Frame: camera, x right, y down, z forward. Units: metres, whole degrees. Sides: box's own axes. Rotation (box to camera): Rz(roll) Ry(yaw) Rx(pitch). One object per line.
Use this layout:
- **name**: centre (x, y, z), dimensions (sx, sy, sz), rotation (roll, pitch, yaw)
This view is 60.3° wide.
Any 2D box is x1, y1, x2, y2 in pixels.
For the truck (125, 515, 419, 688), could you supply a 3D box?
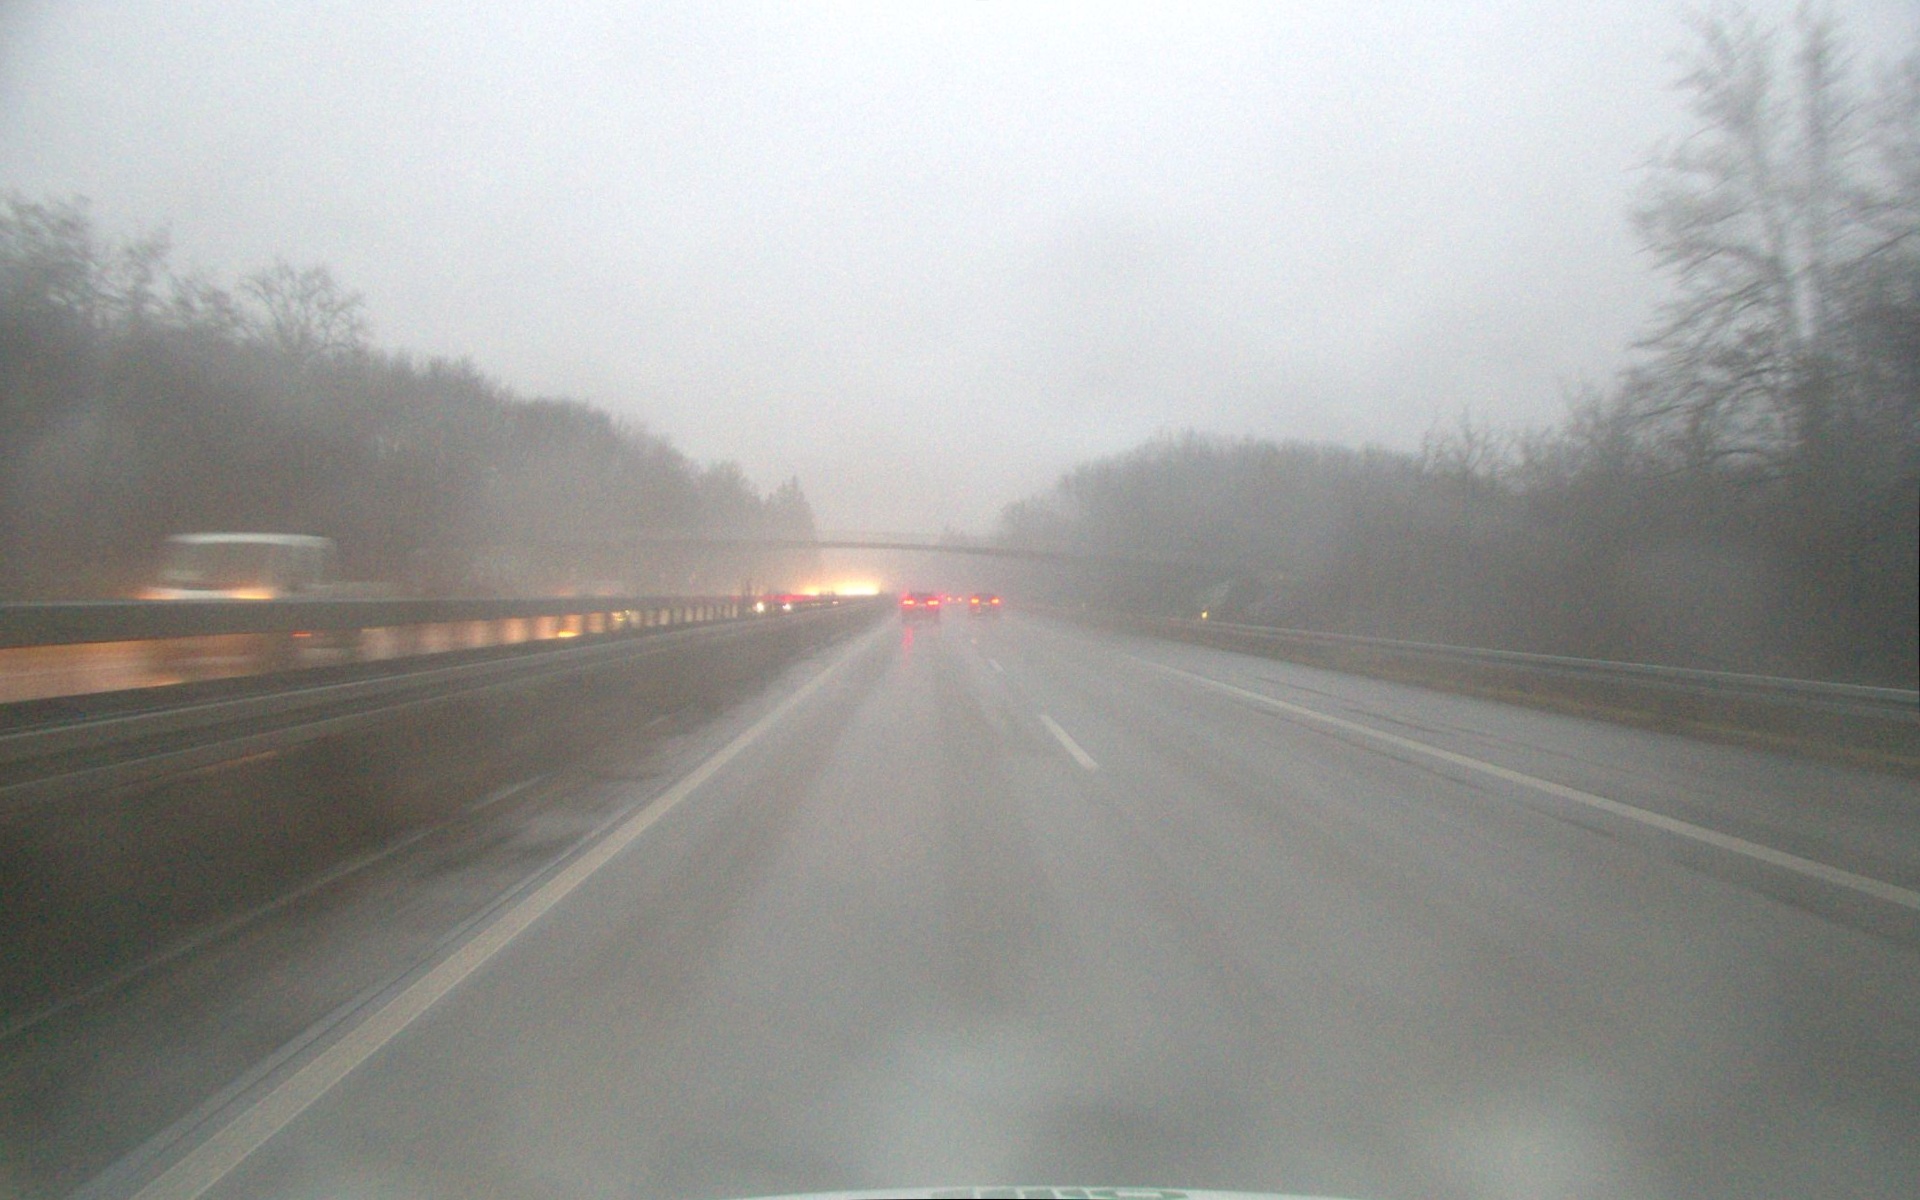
- **truck**: centre (-11.840, 0.065, 29.223), dimensions (2.208, 2.586, 7.076), rotation (3, -1, -1)

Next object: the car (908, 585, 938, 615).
- **car**: centre (-1.787, 0.011, 80.049), dimensions (1.424, 1.367, 3.489), rotation (1, 0, -1)

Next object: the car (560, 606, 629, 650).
- **car**: centre (-12.257, 0.922, 55.730), dimensions (1.468, 1.421, 4.053), rotation (0, 0, -1)

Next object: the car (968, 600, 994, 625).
- **car**: centre (1.277, 0.775, 101.712), dimensions (1.424, 1.454, 3.489), rotation (2, 0, -1)
